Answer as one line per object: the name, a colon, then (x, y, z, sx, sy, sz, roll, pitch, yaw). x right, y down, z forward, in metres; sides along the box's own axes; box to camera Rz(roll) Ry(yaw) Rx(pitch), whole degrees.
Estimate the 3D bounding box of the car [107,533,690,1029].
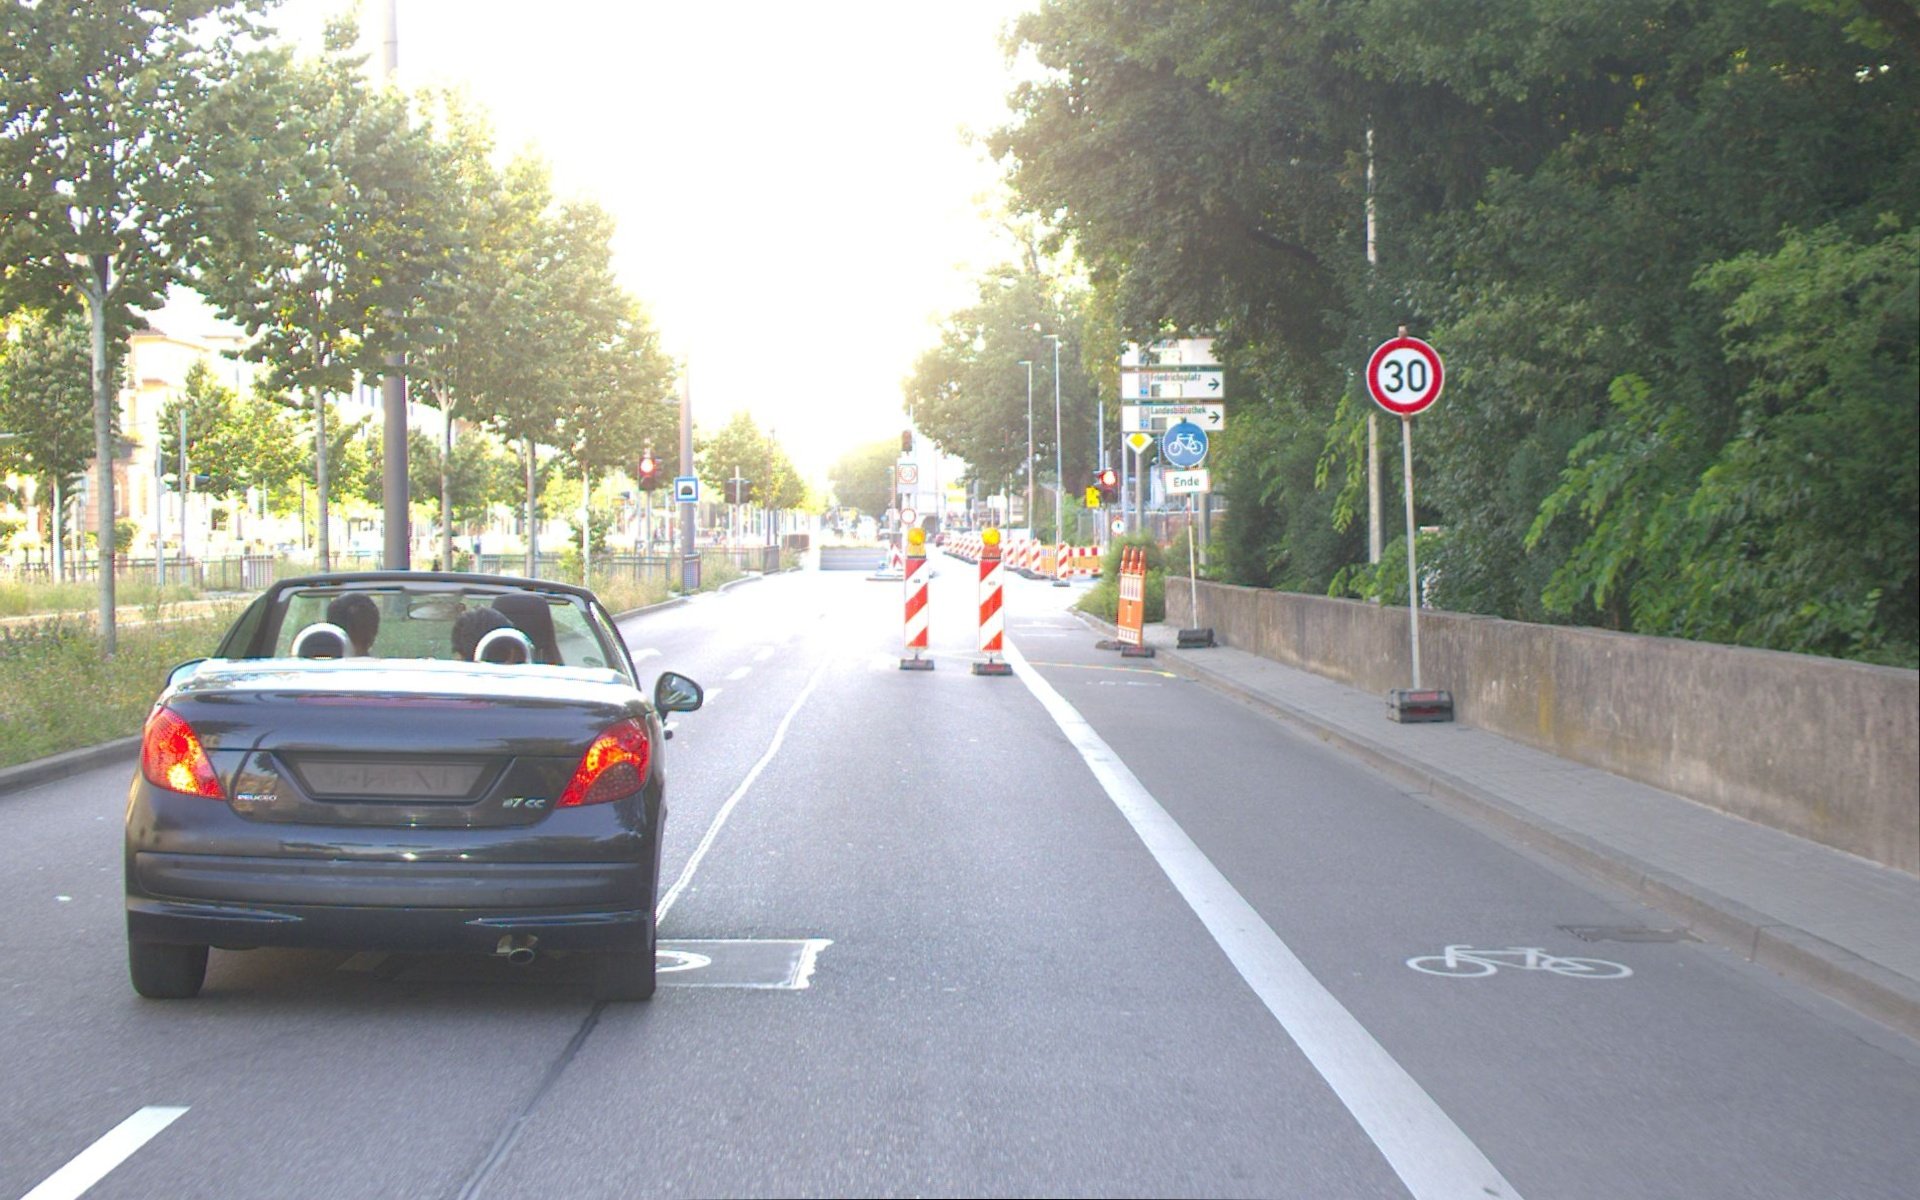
car: (-1.970, 0.500, 12.225, 1.718, 1.444, 3.902, 0, 1, -9)
